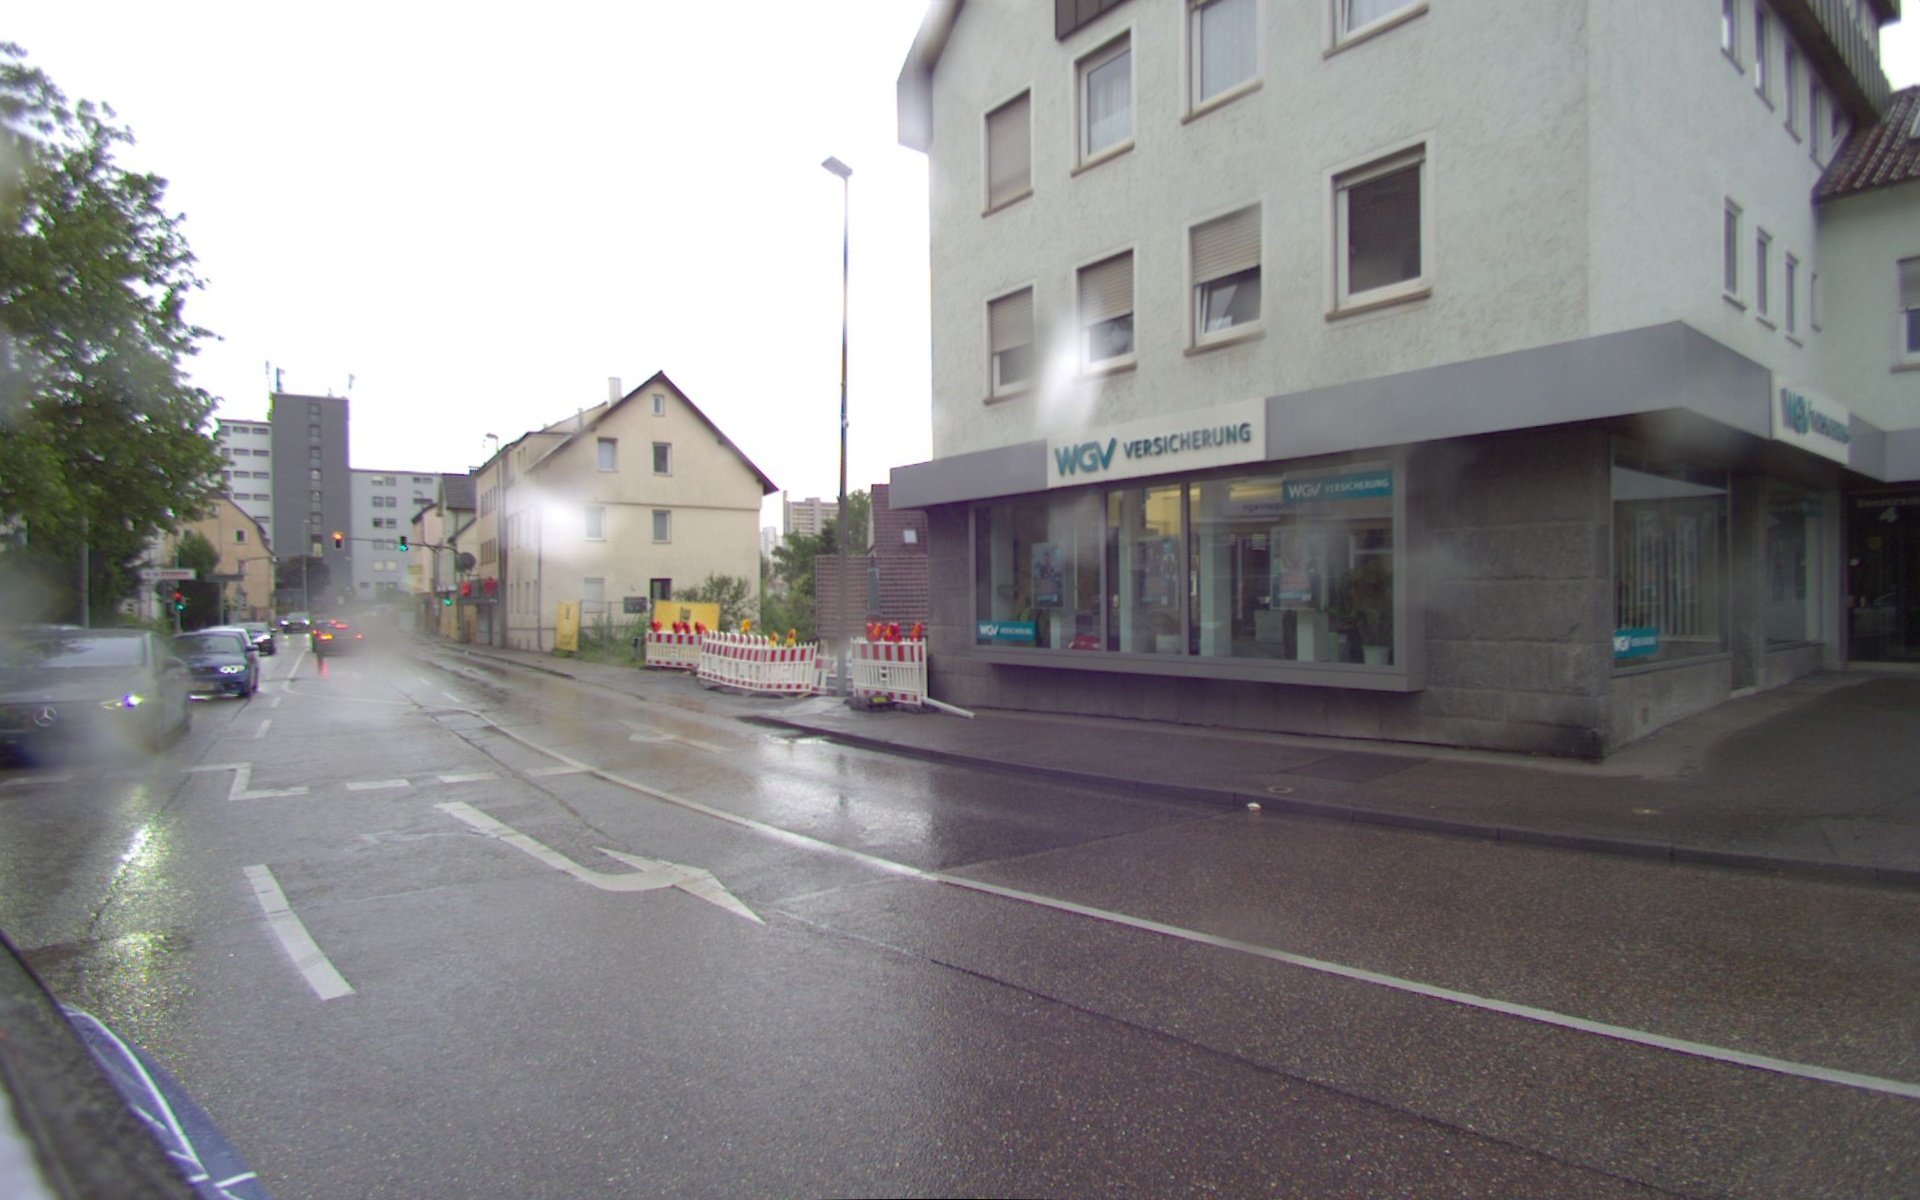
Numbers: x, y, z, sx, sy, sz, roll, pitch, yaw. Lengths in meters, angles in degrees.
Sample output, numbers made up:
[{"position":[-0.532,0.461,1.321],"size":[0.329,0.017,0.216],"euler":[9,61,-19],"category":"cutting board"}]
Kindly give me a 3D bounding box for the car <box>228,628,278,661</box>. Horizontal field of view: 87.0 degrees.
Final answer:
[{"position":[-34.160,2.138,48.949],"size":[1.659,1.472,4.012],"euler":[-1,-1,-31],"category":"car"}]

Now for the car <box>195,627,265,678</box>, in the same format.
[{"position":[-22.672,1.577,31.468],"size":[1.660,1.432,4.010],"euler":[-1,-1,-35],"category":"car"}]

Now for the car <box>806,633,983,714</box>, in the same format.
[{"position":[-1.346,1.620,21.740],"size":[3.456,1.401,1.653],"euler":[10,-10,-41],"category":"car"}]

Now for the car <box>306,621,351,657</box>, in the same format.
[{"position":[-32.027,1.965,51.245],"size":[1.791,1.657,4.287],"euler":[-1,-1,-34],"category":"car"}]

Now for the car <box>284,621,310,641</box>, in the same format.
[{"position":[-53.434,2.502,81.640],"size":[1.524,1.545,3.699],"euler":[-1,0,-30],"category":"car"}]

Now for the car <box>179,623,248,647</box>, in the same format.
[{"position":[-48.266,2.241,65.521],"size":[1.663,1.472,4.001],"euler":[-1,-1,-2],"category":"car"}]

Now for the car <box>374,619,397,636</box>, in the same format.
[{"position":[-55.112,2.591,97.129],"size":[1.790,1.583,4.289],"euler":[0,-1,-28],"category":"car"}]

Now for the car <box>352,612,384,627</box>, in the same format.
[{"position":[-63.159,2.068,108.014],"size":[1.592,1.515,3.723],"euler":[-2,0,-6],"category":"car"}]

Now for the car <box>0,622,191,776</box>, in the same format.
[{"position":[-10.968,1.116,12.639],"size":[1.791,1.583,4.287],"euler":[-1,-1,-32],"category":"car"}]

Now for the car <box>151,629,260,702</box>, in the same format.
[{"position":[-16.325,1.363,22.042],"size":[1.615,1.443,3.816],"euler":[1,-2,-33],"category":"car"}]

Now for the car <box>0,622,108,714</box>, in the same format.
[{"position":[-20.084,1.389,21.748],"size":[1.904,1.794,4.748],"euler":[0,-2,-30],"category":"car"}]

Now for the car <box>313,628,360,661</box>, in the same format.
[{"position":[-28.236,1.990,45.791],"size":[1.684,1.394,3.679],"euler":[-1,-1,-33],"category":"car"}]
